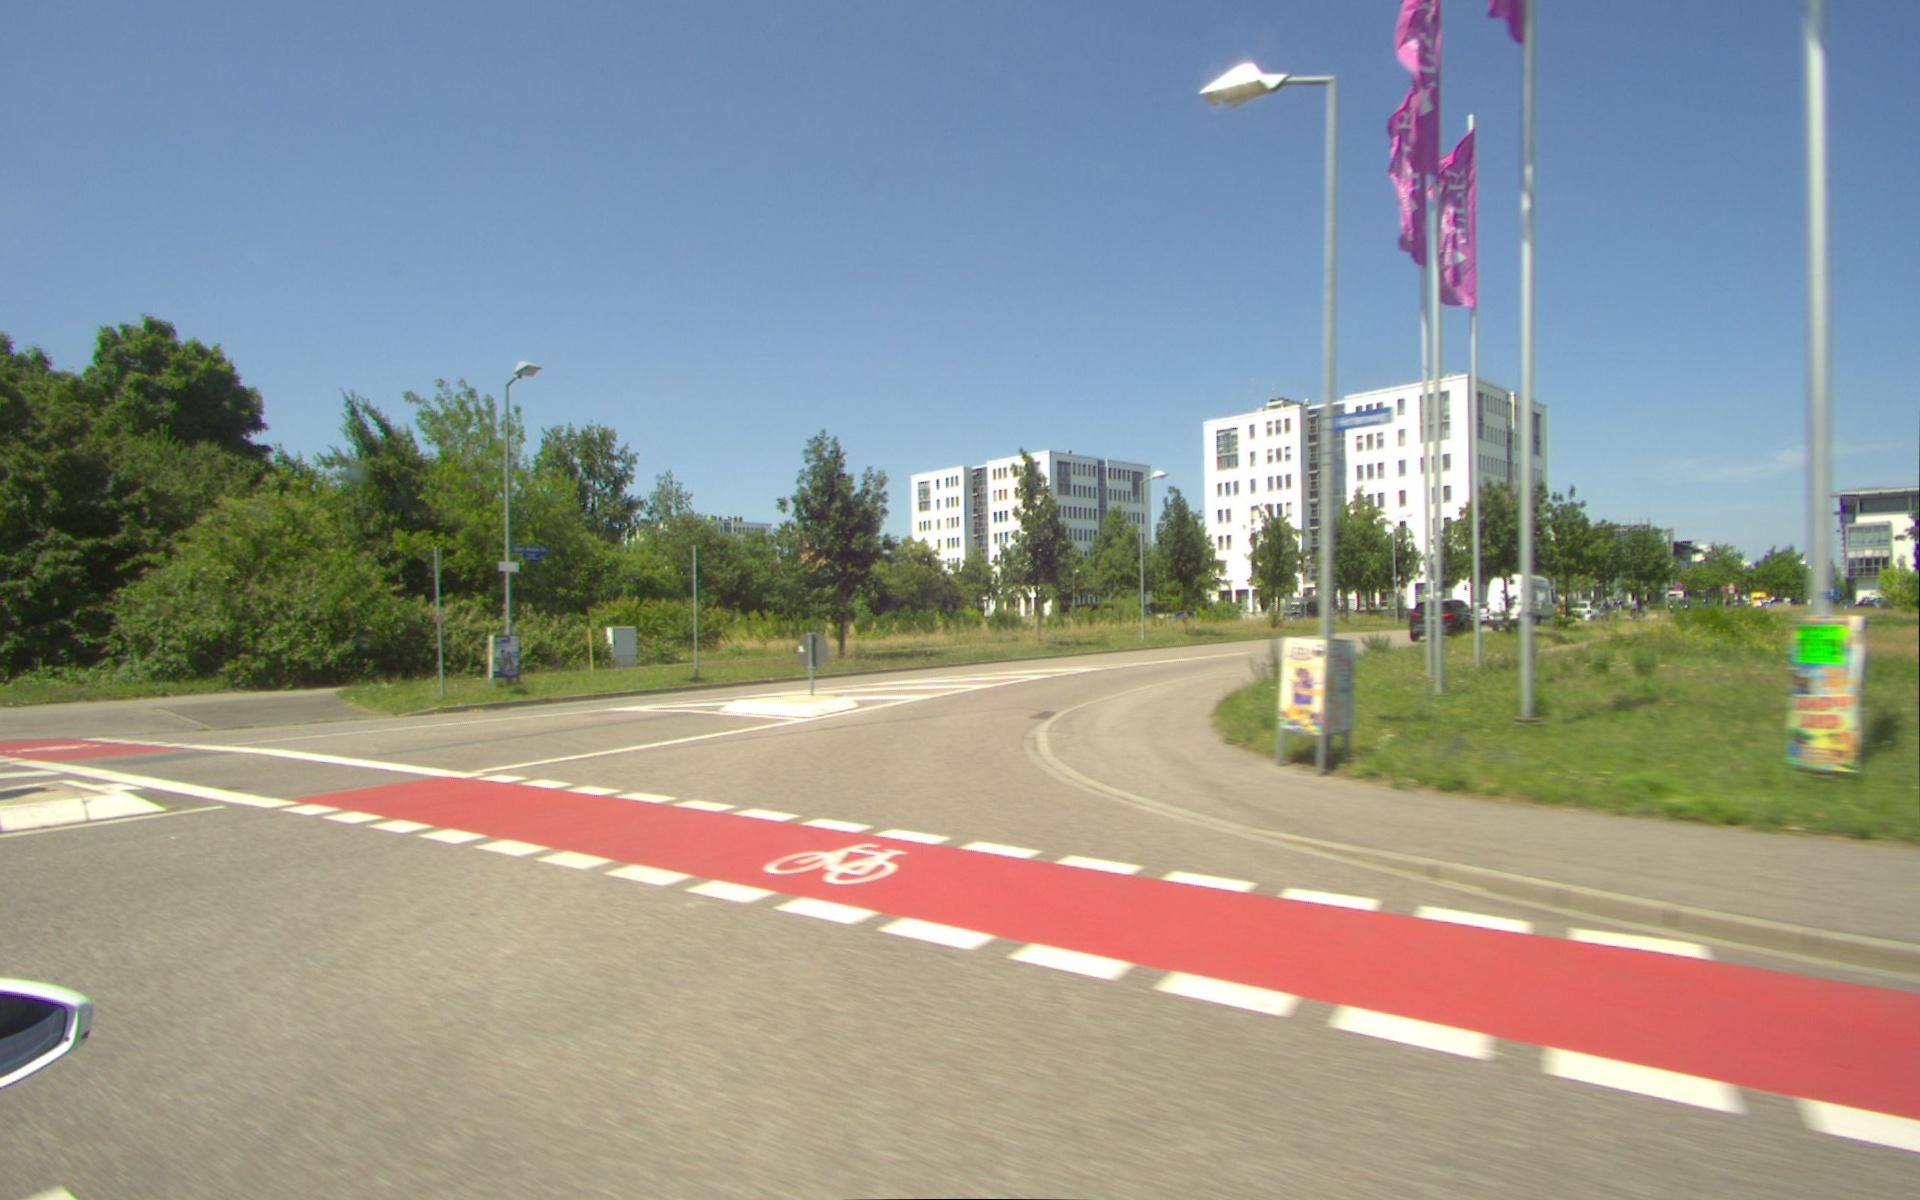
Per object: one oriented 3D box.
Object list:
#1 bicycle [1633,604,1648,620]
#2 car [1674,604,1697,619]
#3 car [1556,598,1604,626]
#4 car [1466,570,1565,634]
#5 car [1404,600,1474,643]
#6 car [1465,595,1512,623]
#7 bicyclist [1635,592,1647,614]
[{"bbox_3d":[51.889,0.891,76.346,0.607,1.196,1.948,2,2,43],"label":"bicycle"},{"bbox_3d":[87.765,1.380,121.131,1.687,1.553,3.596,5,2,44],"label":"car"},{"bbox_3d":[36.117,0.724,58.301,1.688,1.552,3.596,-1,-3,44],"label":"car"},{"bbox_3d":[26.960,0.179,48.449,2.640,2.837,6.795,-2,-2,42],"label":"car"},{"bbox_3d":[18.438,0.863,38.479,1.685,1.552,3.603,-1,-2,38],"label":"car"},{"bbox_3d":[31.526,0.573,59.713,1.687,1.552,3.598,-1,-2,42],"label":"car"},{"bbox_3d":[51.883,0.250,76.319,0.603,1.646,0.686,2,3,43],"label":"bicyclist"}]
